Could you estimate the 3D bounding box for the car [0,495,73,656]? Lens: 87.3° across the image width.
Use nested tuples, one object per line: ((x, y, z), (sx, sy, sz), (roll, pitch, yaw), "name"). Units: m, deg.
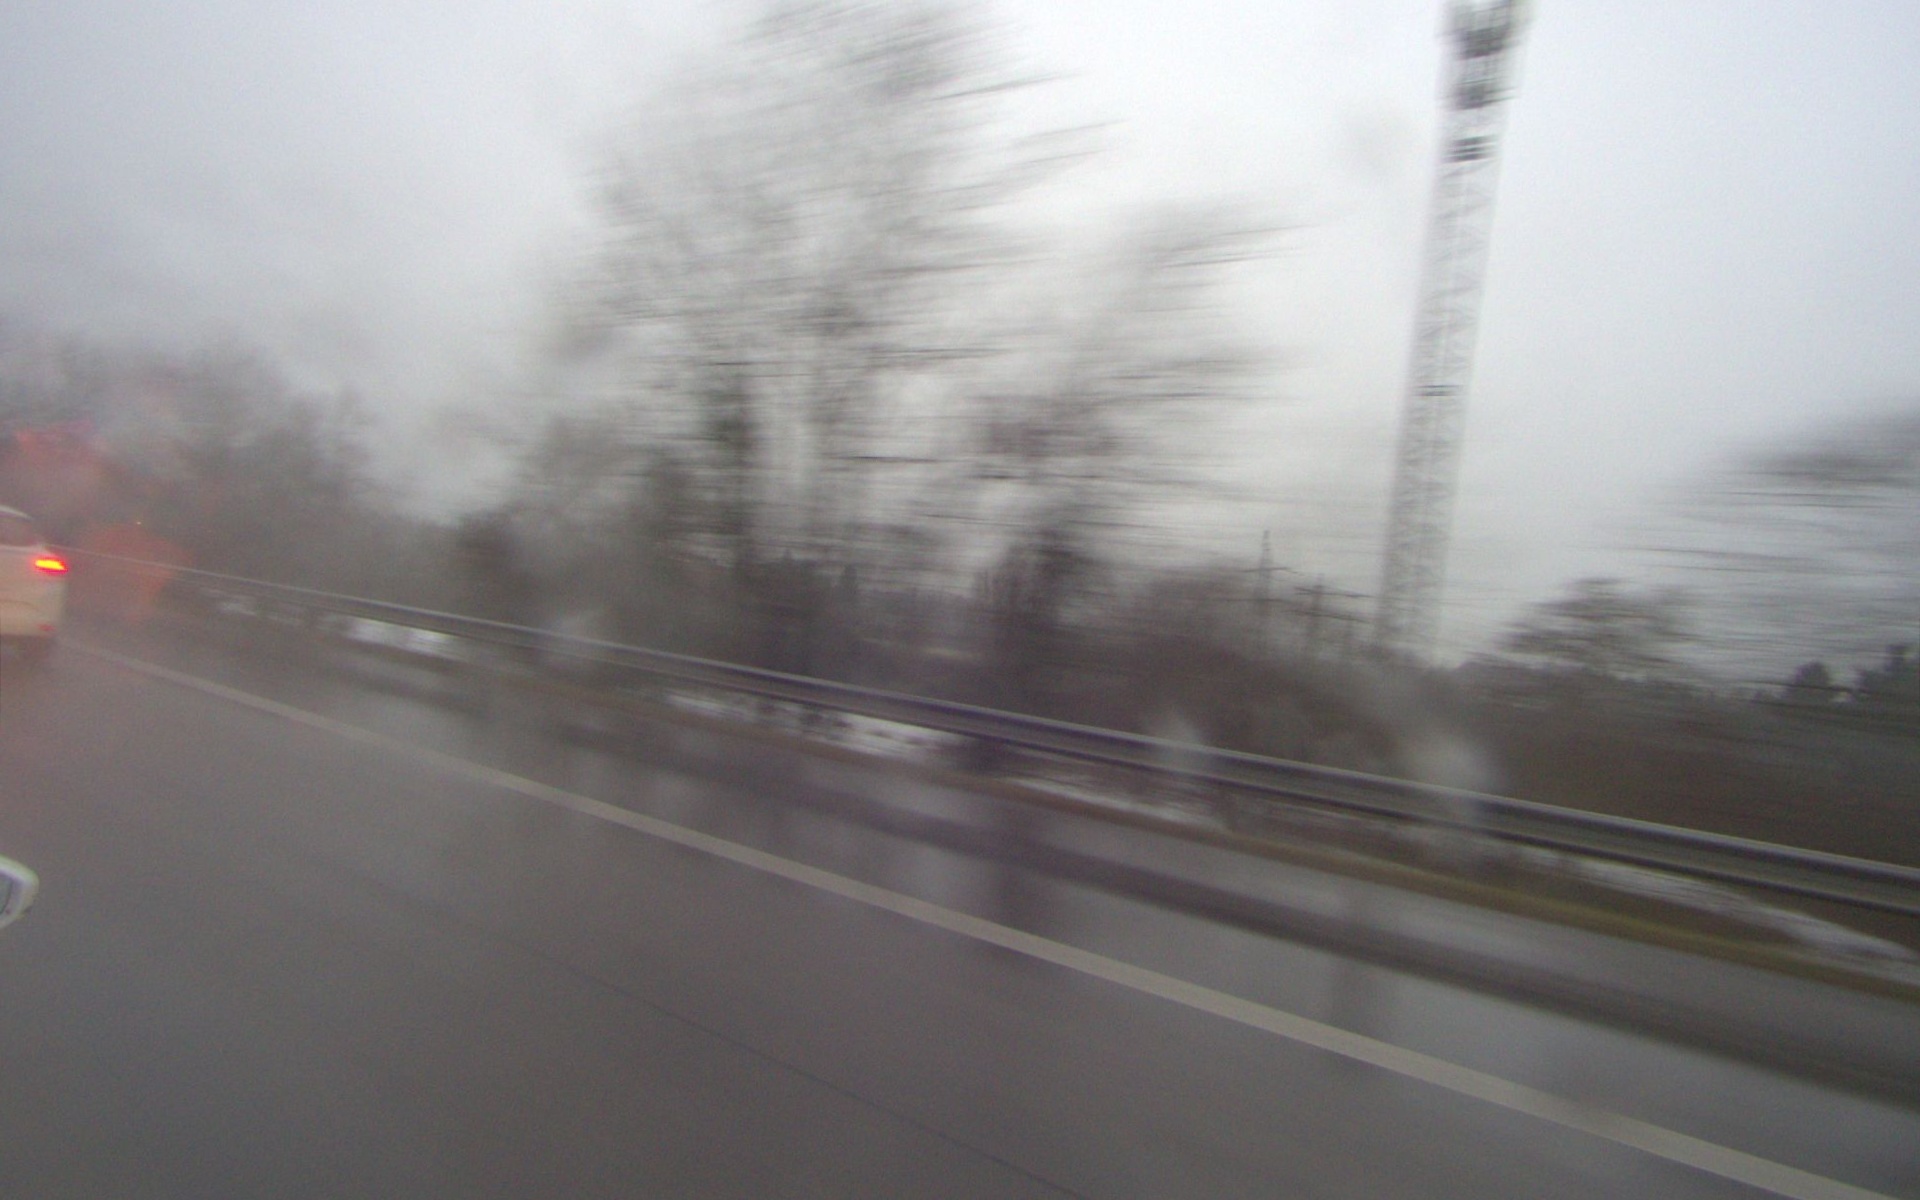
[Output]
((-11.011, -0.462, 10.254), (3.934, 1.521, 1.800), (7, 0, 32), "car")
